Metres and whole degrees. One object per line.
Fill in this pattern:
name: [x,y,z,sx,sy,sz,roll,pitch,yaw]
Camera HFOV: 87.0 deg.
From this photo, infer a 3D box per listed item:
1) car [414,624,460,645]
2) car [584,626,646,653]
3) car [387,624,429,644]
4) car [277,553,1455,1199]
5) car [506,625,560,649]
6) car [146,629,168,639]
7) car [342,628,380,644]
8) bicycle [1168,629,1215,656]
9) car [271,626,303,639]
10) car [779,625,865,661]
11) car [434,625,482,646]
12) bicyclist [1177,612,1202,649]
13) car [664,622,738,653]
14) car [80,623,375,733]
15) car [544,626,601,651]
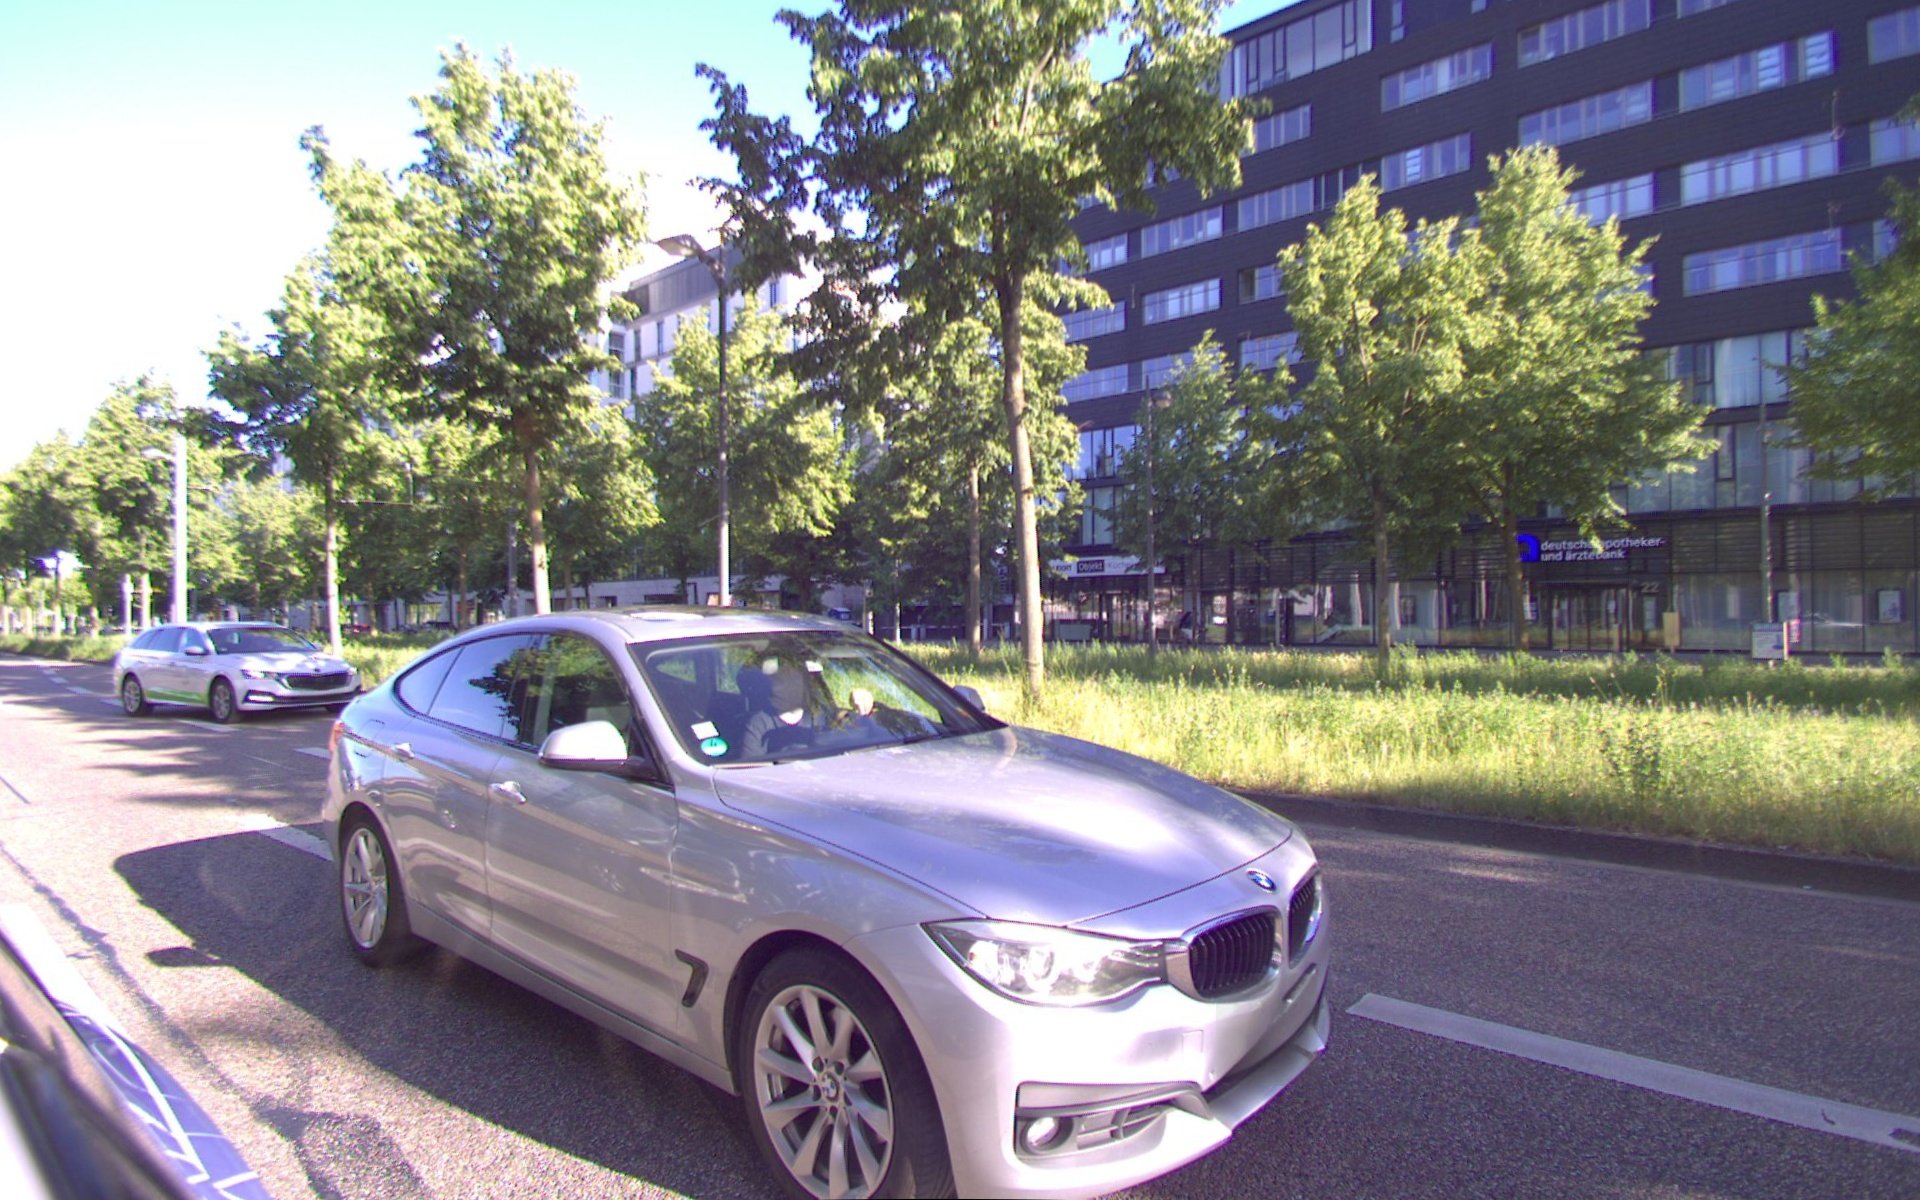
car: [-42.128,2.773,81.470,4.182,1.609,1.859,-2,-1,41]
car: [-21.538,2.457,63.105,4.182,1.609,1.859,-2,-1,41]
car: [-46.584,2.843,85.366,4.182,1.609,1.859,-2,-1,41]
car: [-0.822,0.718,3.849,4.558,1.495,1.800,-1,-1,40]
car: [-29.725,2.583,70.457,4.182,1.609,1.859,-2,-1,41]
car: [-114.624,4.896,144.480,4.001,1.406,1.971,-2,-2,44]
car: [-55.360,3.324,93.520,3.999,1.406,1.972,-2,-2,42]
bicycle: [9.090,1.651,39.785,1.755,1.043,0.472,-1,-1,41]
car: [-72.530,3.486,109.052,3.998,1.406,1.972,-2,-2,41]
car: [-6.762,2.071,49.379,4.182,1.609,1.926,-2,-1,41]
car: [-38.666,2.728,77.964,4.182,1.609,1.859,-2,-1,41]
bicyclist: [9.022,1.194,39.852,0.820,1.435,0.472,-2,-2,41]
car: [-14.225,2.056,55.449,4.182,1.609,1.926,-2,-1,41]
car: [-11.220,1.103,15.459,4.545,1.458,1.789,-1,-1,27]
car: [-25.696,2.518,67.046,4.182,1.609,1.859,-2,-1,41]
